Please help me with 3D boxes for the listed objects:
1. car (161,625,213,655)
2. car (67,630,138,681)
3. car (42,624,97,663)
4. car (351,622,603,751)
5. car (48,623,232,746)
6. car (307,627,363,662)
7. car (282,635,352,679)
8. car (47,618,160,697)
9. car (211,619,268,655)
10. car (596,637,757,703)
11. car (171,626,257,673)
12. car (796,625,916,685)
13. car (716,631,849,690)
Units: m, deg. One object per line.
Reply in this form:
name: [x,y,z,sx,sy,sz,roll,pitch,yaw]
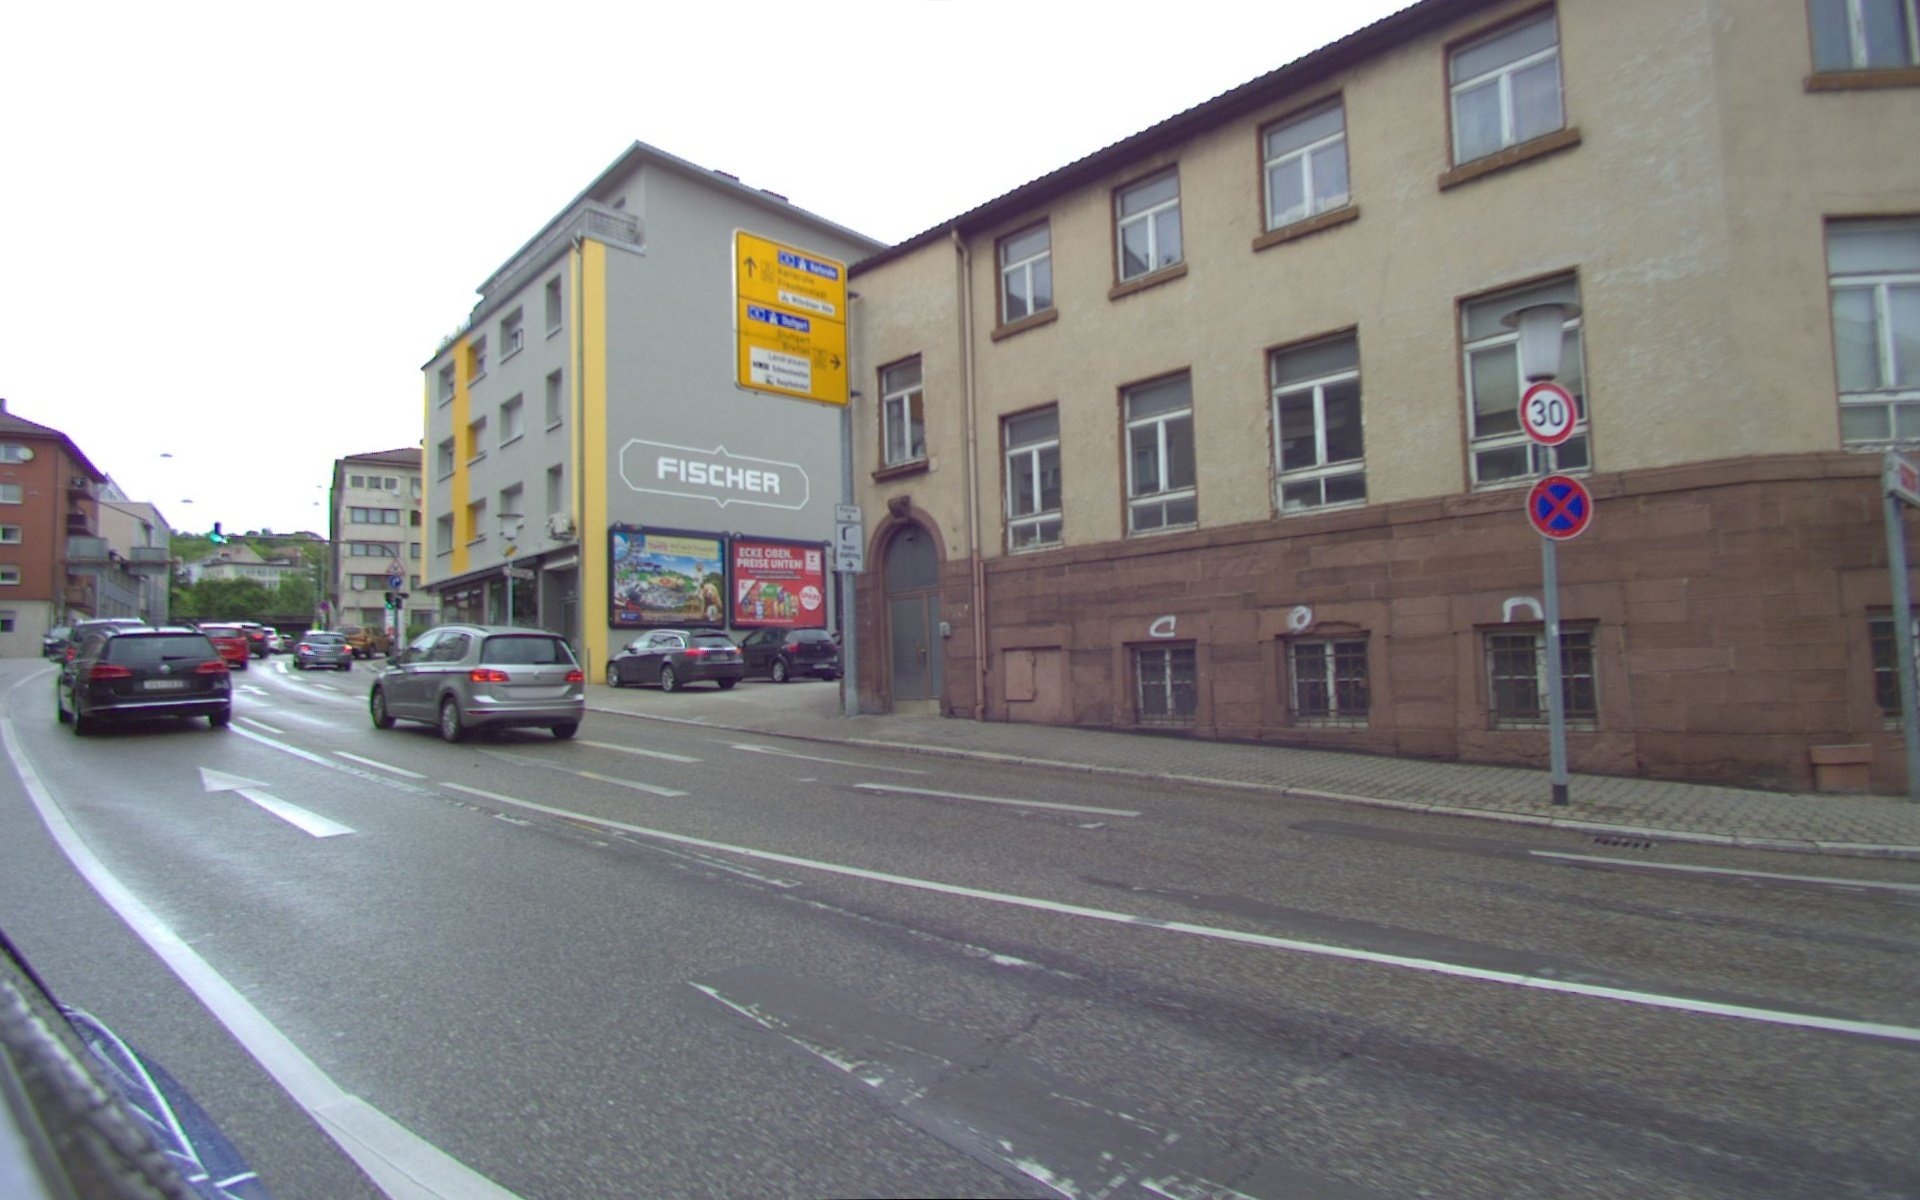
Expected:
car: [-40.863,2.087,53.586,1.782,1.533,4.574,1,-2,-33]
car: [-28.250,1.766,33.286,1.677,1.491,4.296,-1,0,-42]
car: [-46.548,2.308,52.962,1.765,1.741,4.009,0,-5,-36]
car: [-7.106,1.171,14.719,4.141,1.598,1.697,-1,-4,40]
car: [-12.336,1.132,15.117,1.703,1.527,4.372,1,-1,-45]
car: [-30.591,2.160,49.603,1.632,1.622,3.941,3,-3,-22]
car: [-24.339,2.155,38.263,1.640,1.398,3.805,0,-6,-42]
car: [-20.781,1.302,24.486,1.785,1.718,4.565,1,-1,-44]
car: [-32.539,1.655,45.664,1.718,1.527,4.138,4,-4,-39]
car: [-7.171,1.672,25.331,4.664,1.466,1.673,-2,-2,42]
car: [-26.521,1.740,35.947,4.132,1.527,1.721,-1,-4,44]
car: [-3.145,1.647,30.141,1.711,1.527,3.571,0,-6,-42]
car: [-4.895,1.603,27.617,1.671,1.475,3.856,1,-2,-45]
